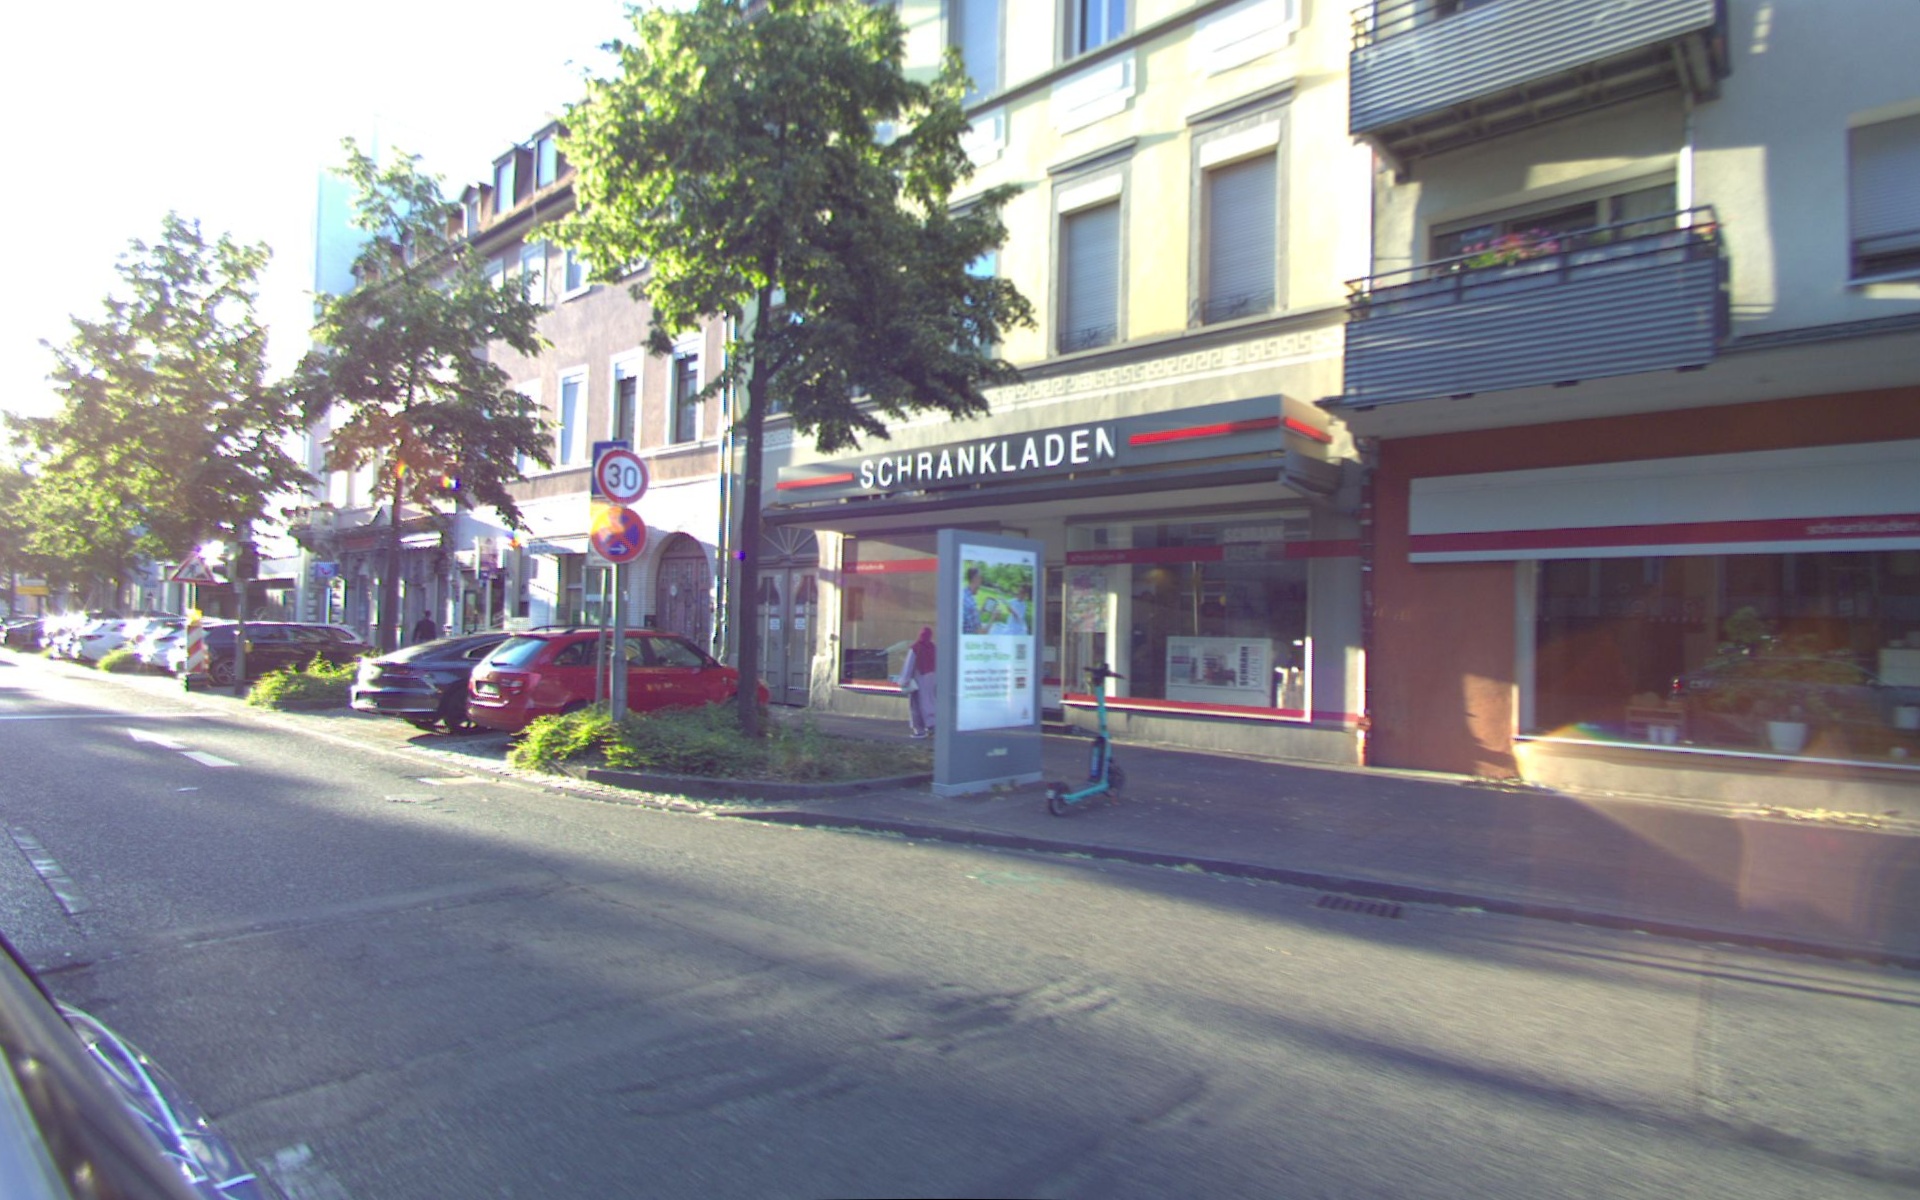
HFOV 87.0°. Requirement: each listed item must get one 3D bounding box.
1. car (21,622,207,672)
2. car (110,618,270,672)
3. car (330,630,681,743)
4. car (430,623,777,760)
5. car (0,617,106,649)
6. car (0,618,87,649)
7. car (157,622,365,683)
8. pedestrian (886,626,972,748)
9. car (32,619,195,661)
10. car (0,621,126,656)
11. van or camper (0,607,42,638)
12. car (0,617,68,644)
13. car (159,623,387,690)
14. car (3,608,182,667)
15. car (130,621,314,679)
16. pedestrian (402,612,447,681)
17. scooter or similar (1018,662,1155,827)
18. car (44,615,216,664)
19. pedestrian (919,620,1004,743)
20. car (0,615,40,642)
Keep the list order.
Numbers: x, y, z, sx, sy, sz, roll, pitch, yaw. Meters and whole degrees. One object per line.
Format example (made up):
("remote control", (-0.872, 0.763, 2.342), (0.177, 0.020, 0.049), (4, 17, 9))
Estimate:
("car", (-25.741, 1.382, 30.918), (1.765, 1.432, 4.108), (-1, -1, 39))
("car", (-23.078, 1.305, 30.408), (1.714, 1.513, 3.520), (-1, -2, 40))
("car", (-6.682, 1.178, 15.336), (1.820, 1.418, 4.524), (-1, -1, 40))
("car", (-4.657, 1.086, 13.674), (1.883, 1.548, 4.029), (-1, -2, 41))
("car", (-44.963, 1.609, 49.803), (1.742, 1.495, 4.232), (-1, -2, 39))
("car", (-48.140, 1.751, 52.684), (1.742, 1.579, 3.828), (-1, -2, 39))
("car", (-17.716, 1.312, 25.791), (1.843, 1.414, 4.052), (-1, -2, 43))
("pedestrian", (-0.423, 1.135, 13.601), (0.875, 1.539, 0.726), (1, 0, 42))
("car", (-31.916, 1.505, 38.274), (1.743, 1.495, 4.500), (-1, -2, 41))
("car", (-40.216, 1.712, 45.273), (1.744, 1.495, 4.229), (-1, -2, 41))
("van or camper", (-62.997, 1.478, 66.055), (1.789, 1.971, 4.410), (-1, -3, 43))
("car", (-52.284, 1.689, 56.211), (1.742, 1.468, 3.828), (-1, -2, 39))
("car", (-16.051, 1.258, 23.799), (1.882, 1.414, 4.066), (-1, -1, 39))
("car", (-27.927, 1.176, 32.677), (1.888, 1.786, 4.108), (-1, -1, 39))
("car", (-19.925, 1.304, 27.427), (1.804, 1.455, 3.701), (-1, -1, 39))
("pedestrian", (-14.018, 1.202, 26.484), (0.875, 1.734, 0.763), (1, 0, 42))
("scooter or similar", (1.106, 1.169, 8.617), (0.525, 1.235, 1.384), (-1, -2, 38))
("car", (-28.815, 1.347, 35.227), (1.888, 1.608, 4.361), (-2, -2, 40))
("pedestrian", (0.018, 1.102, 14.123), (0.875, 1.620, 0.763), (1, 0, 42))
("car", (-61.062, 1.787, 63.952), (1.733, 1.681, 4.137), (0, -2, 43))
